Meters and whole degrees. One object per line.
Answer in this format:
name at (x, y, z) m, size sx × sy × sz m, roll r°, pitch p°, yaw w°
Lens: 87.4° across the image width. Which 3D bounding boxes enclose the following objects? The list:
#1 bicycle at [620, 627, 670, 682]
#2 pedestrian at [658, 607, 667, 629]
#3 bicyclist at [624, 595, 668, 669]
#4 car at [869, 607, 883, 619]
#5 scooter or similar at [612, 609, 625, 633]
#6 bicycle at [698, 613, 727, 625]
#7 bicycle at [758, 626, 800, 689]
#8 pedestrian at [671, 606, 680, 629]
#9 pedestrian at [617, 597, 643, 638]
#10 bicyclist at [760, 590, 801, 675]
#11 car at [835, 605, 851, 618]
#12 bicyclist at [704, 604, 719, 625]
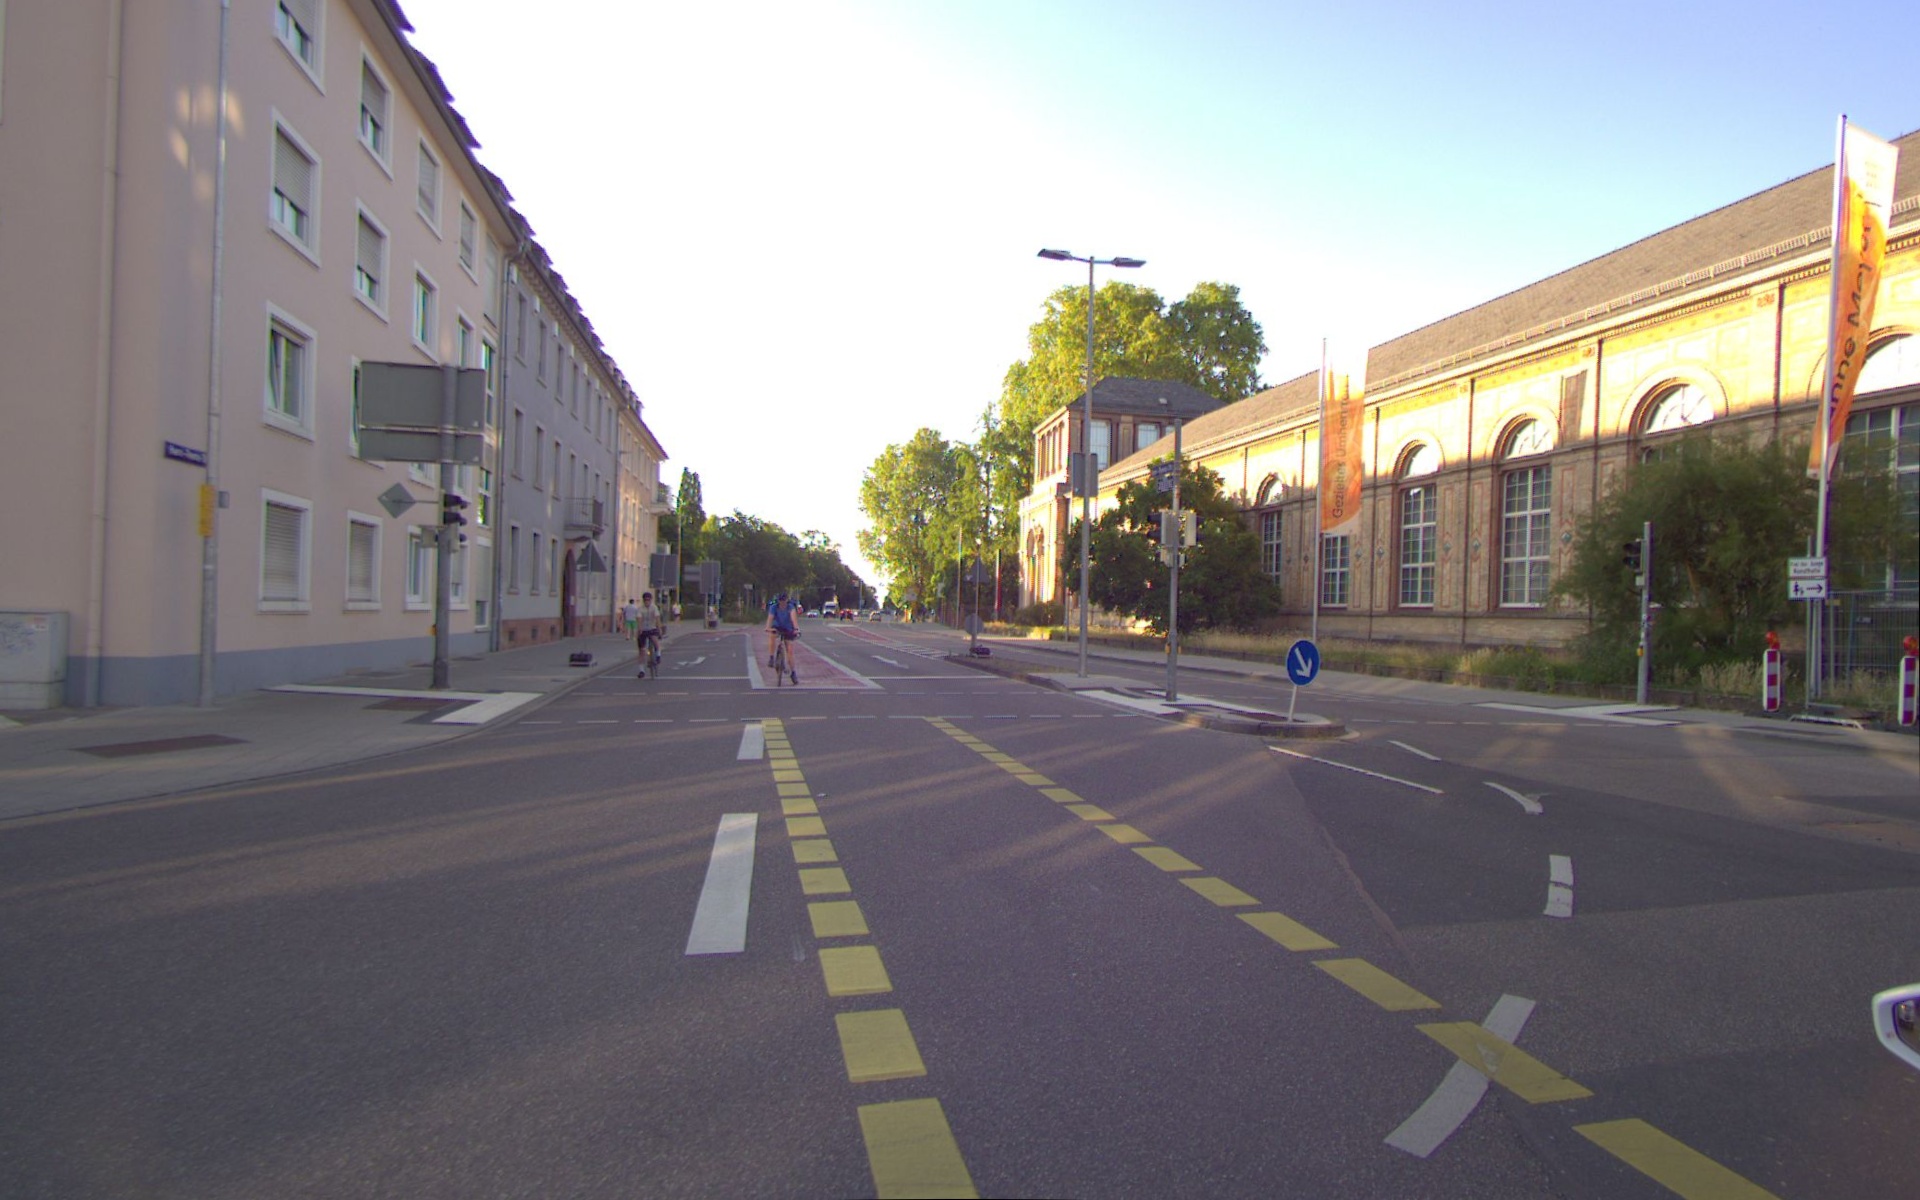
bicycle at (-6.444, 1.098, 20.628) m, size 0.710 × 1.024 × 1.686 m, roll 2°, pitch -1°, yaw -9°
pedestrian at (-21.027, 1.247, 70.975) m, size 0.607 × 1.554 × 0.688 m, roll 2°, pitch 0°, yaw -18°
bicyclist at (-6.439, 0.648, 20.637) m, size 0.700 × 1.459 × 0.893 m, roll 2°, pitch 0°, yaw -9°
car at (-12.600, 1.942, 150.459) m, size 1.962 × 1.743 × 3.996 m, roll 2°, pitch -1°, yaw -6°
scooter or similar at (-16.702, 1.013, 49.142) m, size 0.389 × 1.143 × 0.860 m, roll 2°, pitch 0°, yaw -6°
bicycle at (-19.920, 1.504, 80.765) m, size 2.179 × 0.941 × 0.763 m, roll 2°, pitch -1°, yaw -43°
bicycle at (-3.438, 1.070, 19.200) m, size 0.710 × 1.082 × 1.998 m, roll 2°, pitch -1°, yaw -9°
pedestrian at (-20.174, 1.244, 71.205) m, size 0.607 × 1.595 × 0.721 m, roll 2°, pitch 0°, yaw -18°
pedestrian at (-14.045, 0.745, 42.769) m, size 0.862 × 1.674 × 0.809 m, roll 2°, pitch -3°, yaw -11°
bicyclist at (-3.415, 0.611, 19.185) m, size 0.700 × 1.565 × 1.123 m, roll 2°, pitch 0°, yaw -9°
car at (-16.743, 1.666, 143.690) m, size 1.964 × 1.743 × 3.994 m, roll 2°, pitch -1°, yaw -9°
bicyclist at (-19.960, 1.183, 80.712) m, size 0.866 × 1.618 × 0.744 m, roll 2°, pitch 0°, yaw -41°
